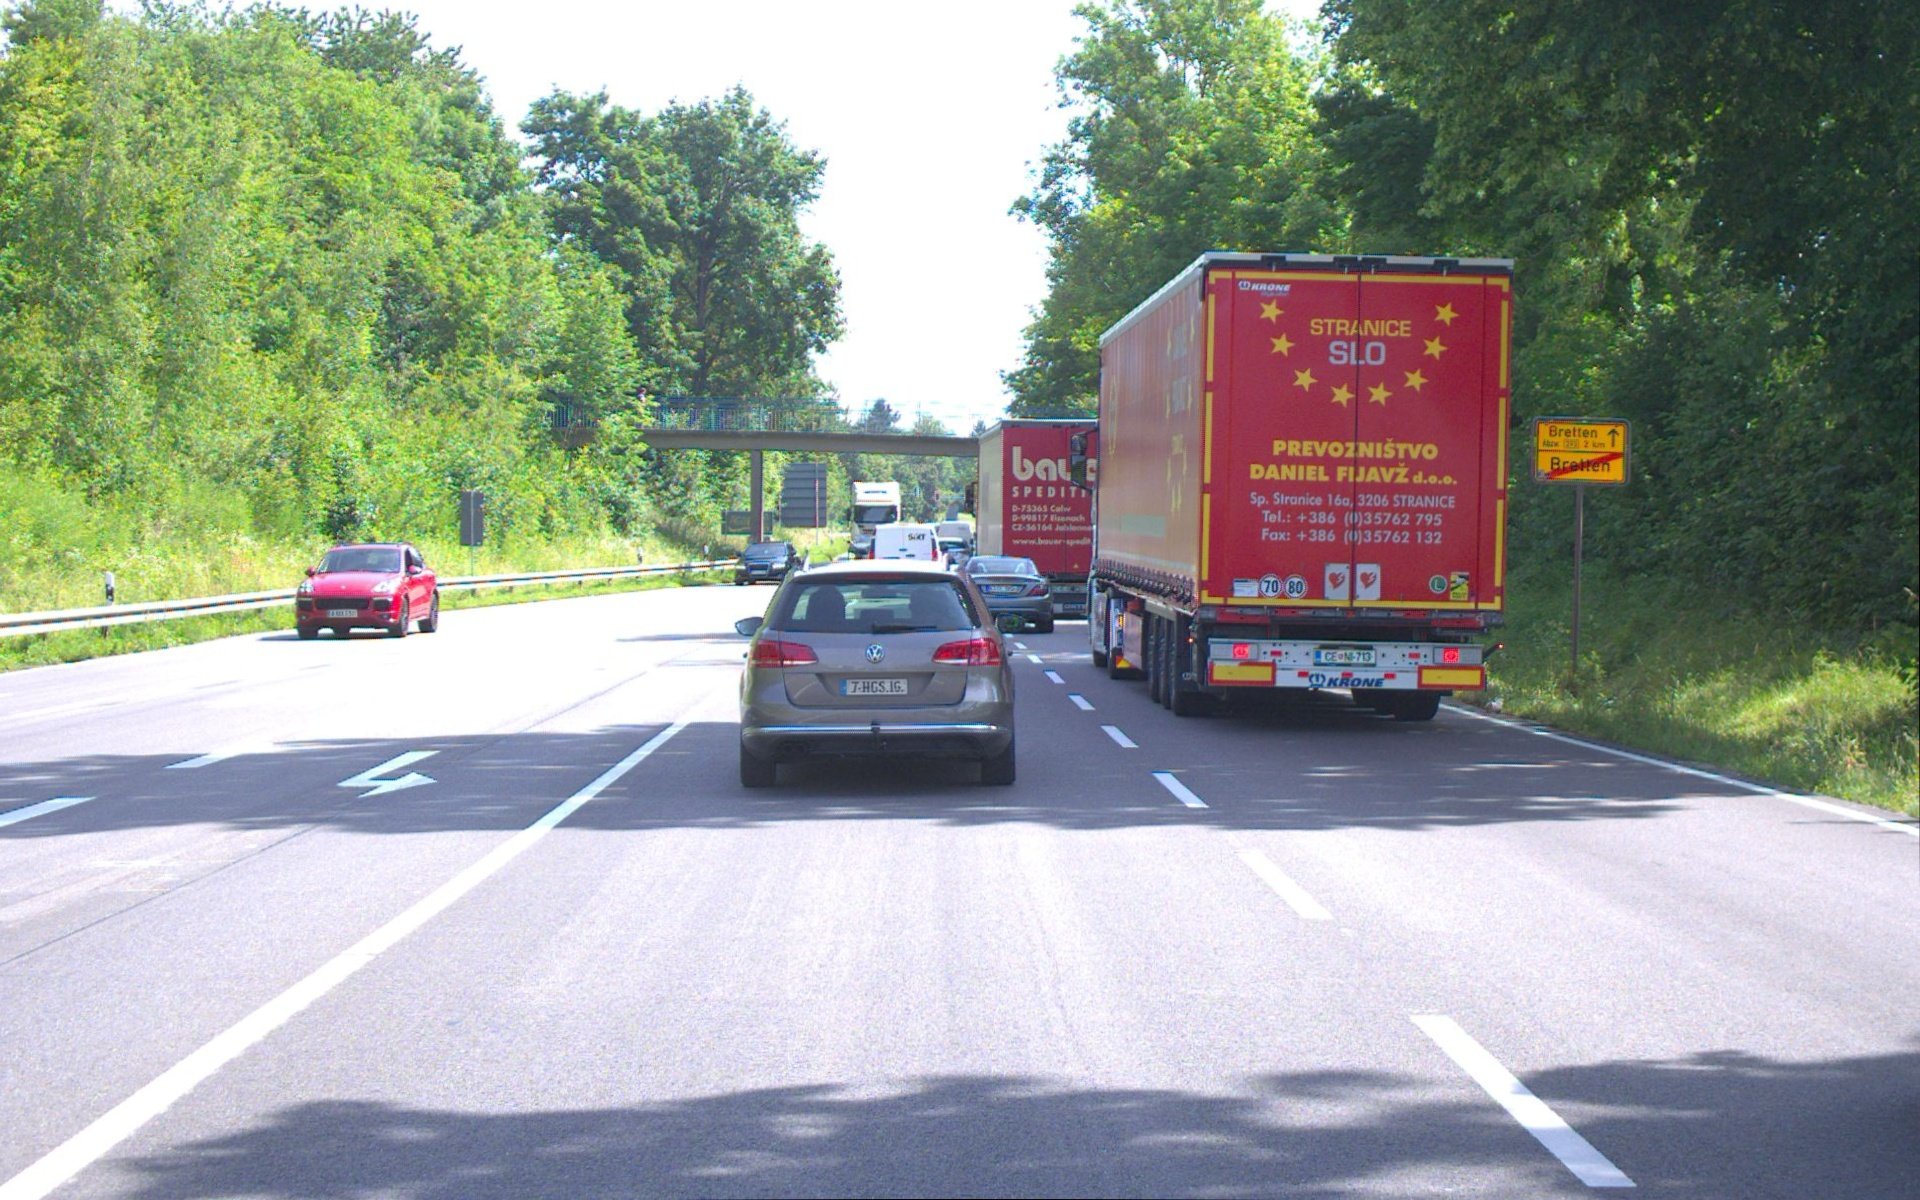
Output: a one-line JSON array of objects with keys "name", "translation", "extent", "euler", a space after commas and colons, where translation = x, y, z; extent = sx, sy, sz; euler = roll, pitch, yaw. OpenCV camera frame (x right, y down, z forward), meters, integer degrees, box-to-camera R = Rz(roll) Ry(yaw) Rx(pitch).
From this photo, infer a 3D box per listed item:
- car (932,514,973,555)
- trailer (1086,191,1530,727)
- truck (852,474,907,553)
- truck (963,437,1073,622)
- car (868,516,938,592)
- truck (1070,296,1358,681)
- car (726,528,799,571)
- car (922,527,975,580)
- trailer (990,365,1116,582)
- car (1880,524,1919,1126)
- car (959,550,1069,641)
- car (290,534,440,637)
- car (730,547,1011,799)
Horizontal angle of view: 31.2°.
[{"name": "car", "translation": [-0.390, -3.324, 175.333], "extent": [1.993, 2.007, 4.000], "euler": [-1, 0, -1]}, {"name": "trailer", "translation": [3.091, -1.216, 34.768], "extent": [2.839, 4.350, 13.168], "euler": [1, 1, -1]}, {"name": "truck", "translation": [-4.238, -4.484, 180.269], "extent": [2.773, 3.917, 9.467], "euler": [-1, 0, -2]}, {"name": "truck", "translation": [1.357, -1.603, 80.069], "extent": [2.406, 4.113, 5.521], "euler": [-1, 0, 1]}, {"name": "car", "translation": [-1.494, -1.202, 90.386], "extent": [1.770, 1.930, 3.978], "euler": [-1, 0, -1]}, {"name": "truck", "translation": [2.942, -1.280, 41.527], "extent": [2.870, 4.266, 5.839], "euler": [1, 0, -1]}, {"name": "car", "translation": [-6.607, -1.681, 115.455], "extent": [1.963, 1.410, 4.000], "euler": [-1, 0, 3]}, {"name": "car", "translation": [-0.471, -1.804, 133.988], "extent": [1.993, 2.007, 4.000], "euler": [-1, 0, -1]}, {"name": "trailer", "translation": [1.950, -2.540, 73.948], "extent": [2.395, 4.229, 13.077], "euler": [-1, 0, 1]}, {"name": "car", "translation": [3.546, 0.616, 7.717], "extent": [1.770, 1.649, 4.000], "euler": [-1, 0, -2]}, {"name": "car", "translation": [0.912, -0.100, 60.289], "extent": [1.770, 1.508, 4.000], "euler": [-1, 0, -1]}, {"name": "car", "translation": [-10.911, -0.275, 63.377], "extent": [1.973, 1.790, 4.809], "euler": [-1, 0, -1]}, {"name": "car", "translation": [-0.583, 0.429, 23.015], "extent": [1.691, 1.508, 4.000], "euler": [-1, 0, -1]}]
